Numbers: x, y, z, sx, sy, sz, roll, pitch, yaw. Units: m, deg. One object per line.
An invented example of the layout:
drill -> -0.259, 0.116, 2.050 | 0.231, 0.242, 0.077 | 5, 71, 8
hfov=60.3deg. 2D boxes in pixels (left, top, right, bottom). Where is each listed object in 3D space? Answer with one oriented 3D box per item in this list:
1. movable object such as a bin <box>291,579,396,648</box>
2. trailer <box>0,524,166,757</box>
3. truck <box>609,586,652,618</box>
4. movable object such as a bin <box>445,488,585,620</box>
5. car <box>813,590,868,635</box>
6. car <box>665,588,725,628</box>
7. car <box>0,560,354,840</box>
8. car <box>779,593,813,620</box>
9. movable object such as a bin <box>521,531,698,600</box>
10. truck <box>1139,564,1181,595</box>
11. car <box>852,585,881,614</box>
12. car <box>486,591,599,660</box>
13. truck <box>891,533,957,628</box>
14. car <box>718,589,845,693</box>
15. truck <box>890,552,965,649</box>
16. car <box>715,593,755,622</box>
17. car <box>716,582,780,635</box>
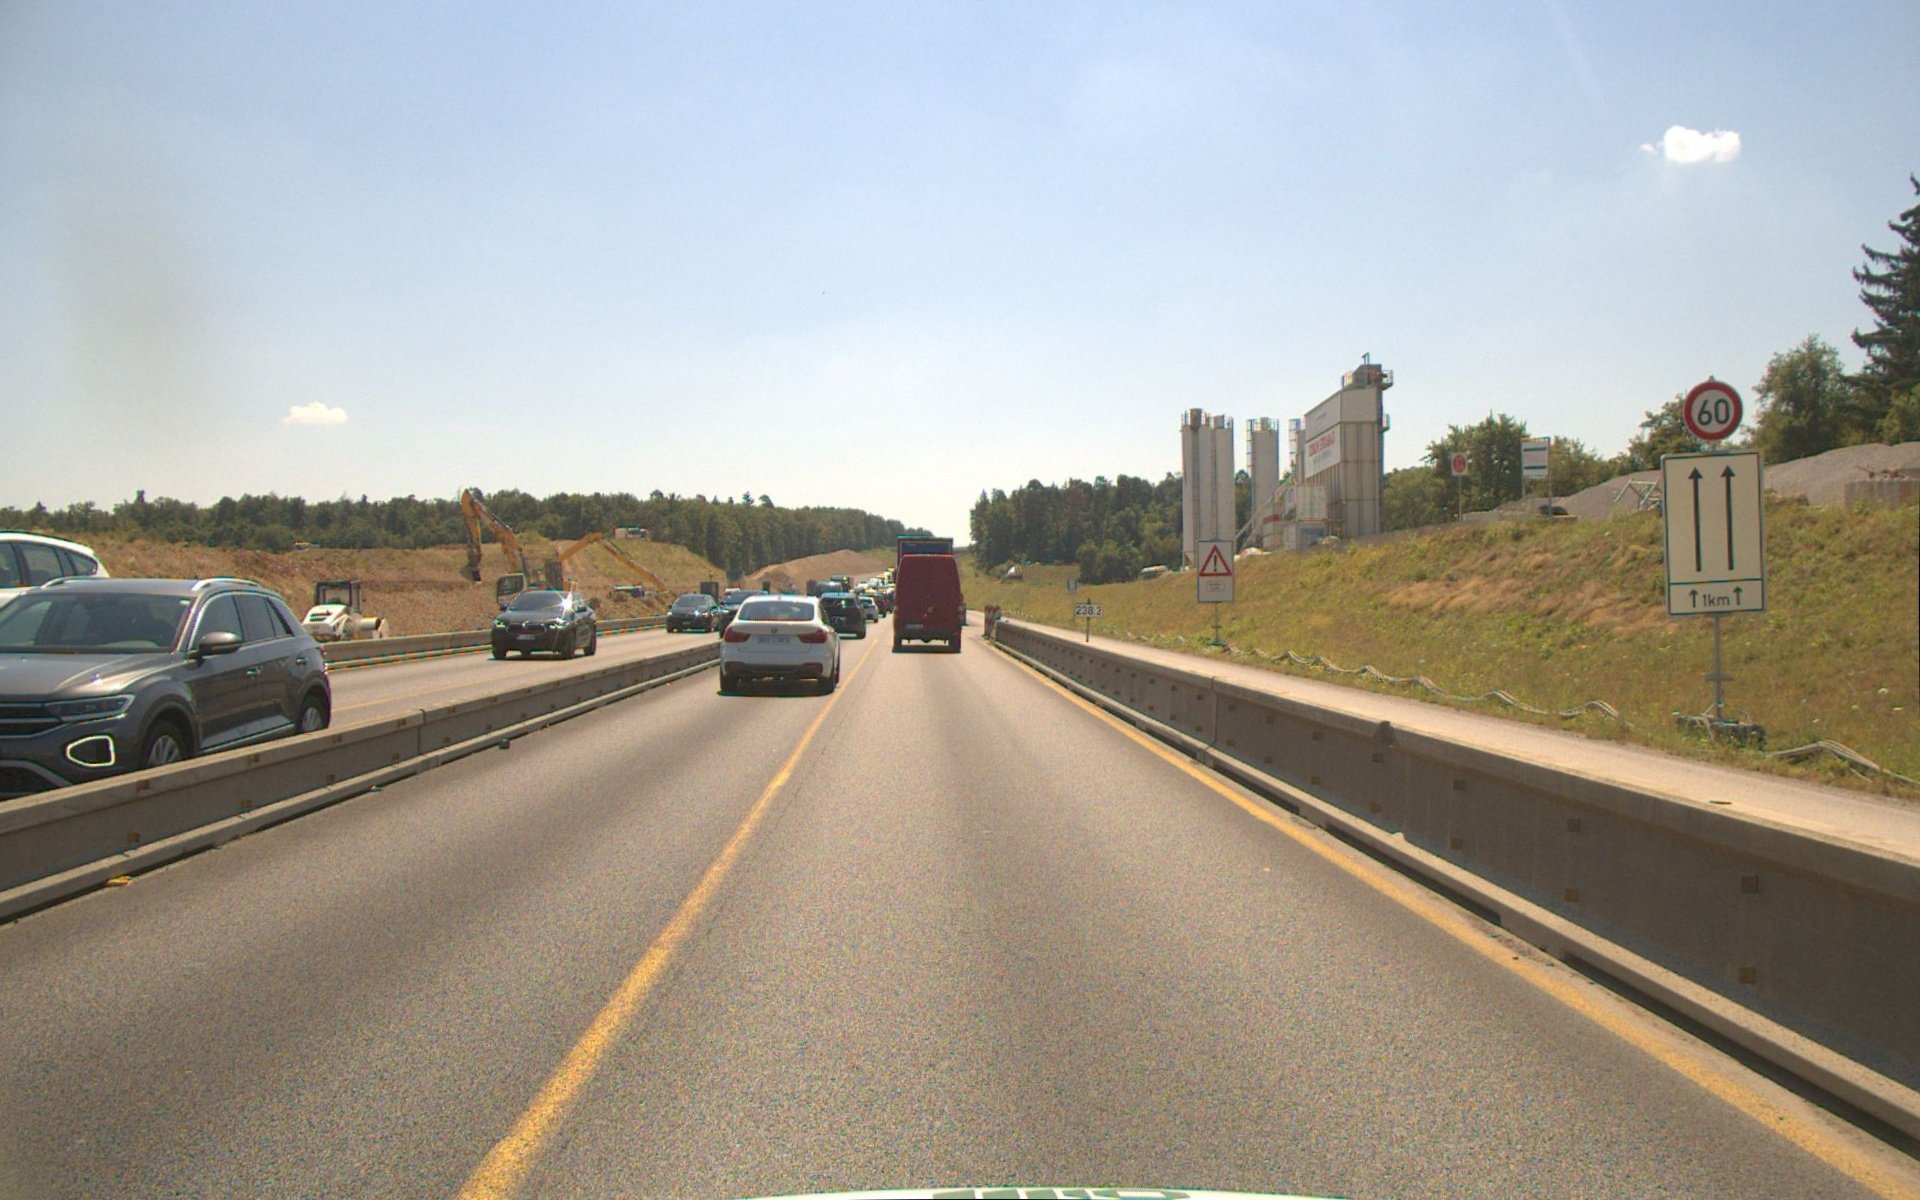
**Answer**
movable object such as a bin -> -23.648, 0.473, 63.747 | 1.667, 2.504, 6.742 | 0, 0, -2
trailer -> -9.360, 0.349, 14.783 | 2.087, 2.017, 5.233 | 0, 0, -1
truck -> -28.623, 0.174, 143.914 | 2.269, 2.663, 8.407 | 0, 0, -2
movable object such as a bin -> -26.867, -2.749, 100.108 | 7.481, 7.848, 3.445 | 0, 0, -1
car -> -4.260, 0.432, 59.419 | 1.759, 1.561, 3.930 | 0, 0, -2
car -> -10.631, 0.303, 66.654 | 1.823, 1.527, 4.575 | 0, 0, -2
car -> -5.779, 0.568, 11.560 | 1.660, 1.607, 4.132 | 0, 0, -2
car -> -9.142, 0.363, 92.228 | 1.645, 1.467, 4.669 | 0, 0, -3
movable object such as a bin -> -37.895, -3.713, 179.246 | 18.341, 7.357, 3.613 | 0, 0, -4
truck -> 20.828, -2.129, 172.066 | 2.837, 3.167, 6.011 | 0, 0, 22
car -> -6.713, -0.049, 119.365 | 1.953, 2.049, 3.999 | 0, 0, -1
car -> -9.776, 0.556, 38.999 | 1.690, 1.504, 4.391 | 0, 0, -2
truck -> -1.694, -0.896, 78.378 | 2.954, 4.225, 8.270 | 0, 0, -1
car -> -2.873, 0.616, 27.583 | 1.759, 1.561, 5.071 | 1, 0, -2
truck -> -0.976, -0.003, 48.811 | 2.069, 2.679, 6.482 | 0, 0, -2
car -> -11.718, 0.393, 86.318 | 1.619, 1.467, 4.225 | 0, 0, -1
car -> -7.456, 0.288, 58.584 | 1.736, 1.772, 5.037 | 0, 0, -2
